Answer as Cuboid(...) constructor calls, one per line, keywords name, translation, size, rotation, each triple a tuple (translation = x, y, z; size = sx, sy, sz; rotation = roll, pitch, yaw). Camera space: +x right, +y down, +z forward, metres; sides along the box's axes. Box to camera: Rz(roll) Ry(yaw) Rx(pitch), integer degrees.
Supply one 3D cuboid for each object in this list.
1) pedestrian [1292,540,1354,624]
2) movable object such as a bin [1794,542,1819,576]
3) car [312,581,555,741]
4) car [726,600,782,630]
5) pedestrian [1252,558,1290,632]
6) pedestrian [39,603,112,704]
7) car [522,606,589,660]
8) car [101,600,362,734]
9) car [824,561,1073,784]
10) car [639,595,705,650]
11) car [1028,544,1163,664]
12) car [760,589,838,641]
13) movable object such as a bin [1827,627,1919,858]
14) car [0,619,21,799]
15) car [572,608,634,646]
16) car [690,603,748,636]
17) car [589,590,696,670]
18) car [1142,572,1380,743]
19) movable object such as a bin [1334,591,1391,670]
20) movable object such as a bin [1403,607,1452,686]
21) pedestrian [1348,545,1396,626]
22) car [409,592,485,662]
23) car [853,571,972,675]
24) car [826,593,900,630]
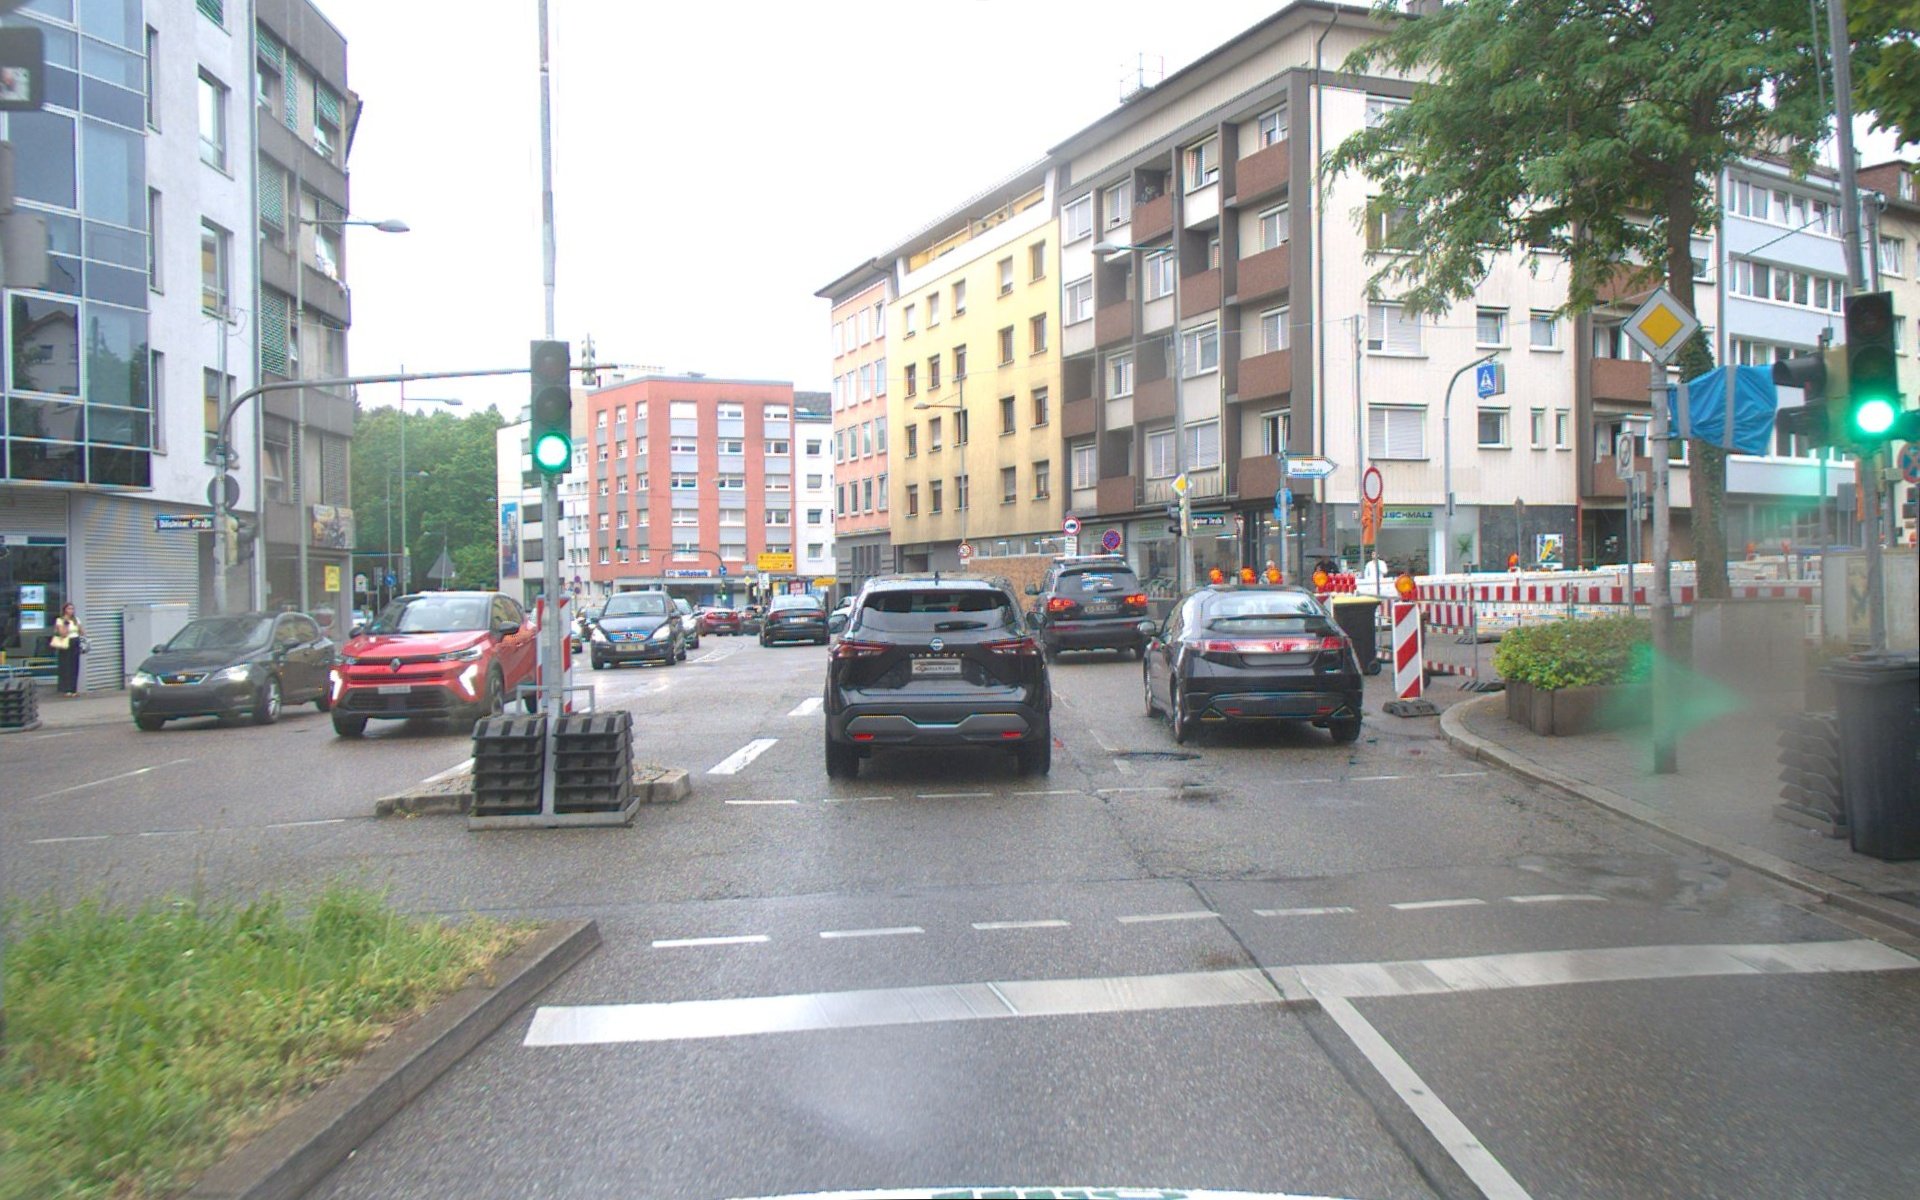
Cuboid(name="pedestrian", translation=(8.550, -0.419, 38.967), size=(0.912, 1.893, 1.015), rotation=(-1, -2, -44))
Cuboid(name="movable object such as a bin", translation=(27.602, -1.338, 53.928), size=(0.532, 1.066, 0.525), rotation=(1, -1, -33))
Cuboid(name="car", translation=(-6.083, 0.631, 19.595), size=(1.811, 1.622, 4.087), rotation=(-2, 0, -5))
Cuboid(name="car", translation=(-10.803, 0.787, 86.563), size=(1.966, 1.545, 3.973), rotation=(1, -1, -22))
Cuboid(name="pedestrian", translation=(7.438, -0.109, 39.555), size=(0.775, 1.717, 0.822), rotation=(-3, -2, 12))
Cuboid(name="pedestrian", translation=(-14.829, 0.891, 27.732), size=(0.611, 1.636, 0.832), rotation=(-2, 0, 24))
Cuboid(name="car", translation=(-12.902, 1.020, 52.727), size=(1.897, 1.499, 4.586), rotation=(-4, 0, -14))
Cuboid(name="car", translation=(-9.545, 0.810, 22.050), size=(1.810, 1.523, 3.998), rotation=(-2, 0, -3))
Cuboid(name="car", translation=(-0.153, 0.529, 14.344), size=(1.856, 1.657, 3.998), rotation=(0, 0, -2))
Cuboid(name="car", translation=(-8.684, 0.649, 49.800), size=(1.819, 1.499, 4.636), rotation=(-2, 0, -10))
Cuboid(name="car", translation=(2.355, 0.017, 29.964), size=(1.980, 1.902, 4.899), rotation=(-3, 1, 0))
Cuboid(name="car", translation=(-4.642, 0.430, 47.241), size=(1.956, 1.412, 4.490), rotation=(1, -1, -9))
Cuboid(name="movable object such as a bin", translation=(5.096, 0.737, 8.822), size=(0.566, 1.130, 0.666), rotation=(-3, 2, 3))
Cuboid(name="car", translation=(-8.548, 0.970, 11.257), size=(1.809, 1.442, 4.612), rotation=(-4, 1, -3))
Cuboid(name="car", translation=(-15.424, 1.161, 71.303), size=(1.955, 1.484, 4.458), rotation=(-3, 0, -20))
Cuboid(name="car", translation=(-11.600, 0.934, 79.445), size=(1.965, 1.557, 3.975), rotation=(1, -1, -21))
Cuboid(name="car", translation=(-6.869, 0.606, 36.152), size=(1.794, 1.570, 4.279), rotation=(-2, 1, -5))
Cuboid(name="car", translation=(2.908, 0.506, 16.789), size=(1.747, 1.523, 4.057), rotation=(0, 0, 1))
Cuboid(name="movable object such as a bin", translation=(5.626, 0.425, 23.110), size=(0.608, 1.049, 0.531), rotation=(-3, 2, -4))
Cuboid(name="movable object such as a bin", translation=(5.935, 0.583, 20.999), size=(0.411, 0.945, 0.531), rotation=(-3, 2, -4))
Cuboid(name="pedestrian", translation=(9.936, -0.346, 39.857), size=(0.646, 1.912, 0.987), rotation=(-4, -2, 43))
Cuboid(name="car", translation=(-15.877, 0.885, 51.420), size=(2.084, 2.050, 5.105), rotation=(1, -2, -16))
Cuboid(name="car", translation=(-0.816, 0.385, 31.007), size=(1.905, 1.714, 4.001), rotation=(-3, 0, 2))
Cuboid(name="car", translation=(-4.218, 0.485, 71.069), size=(1.967, 1.512, 3.972), rotation=(1, -1, -23))
